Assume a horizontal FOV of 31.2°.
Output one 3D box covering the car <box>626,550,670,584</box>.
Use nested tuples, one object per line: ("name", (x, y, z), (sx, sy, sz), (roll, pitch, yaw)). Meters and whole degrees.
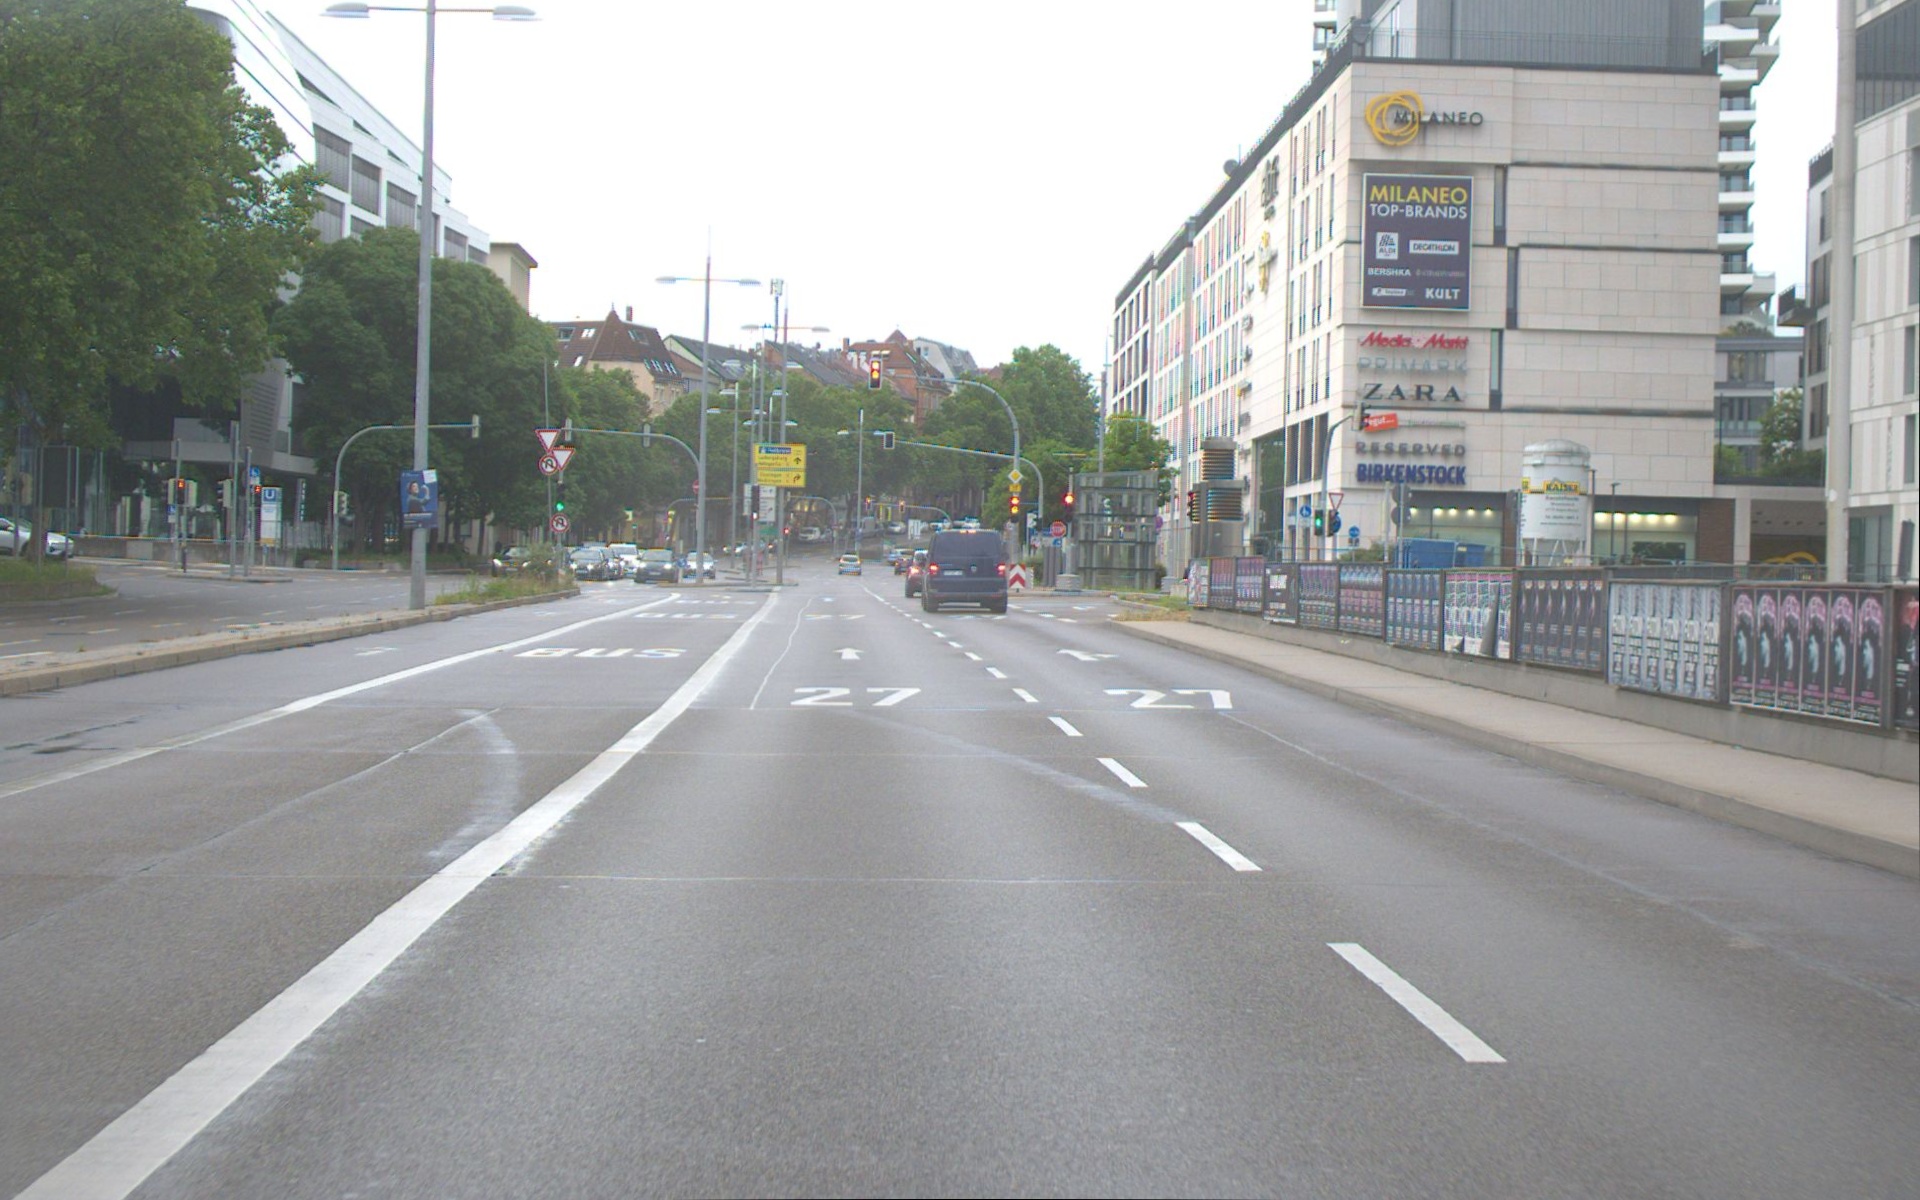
("car", (-13.843, -1.448, 152.608), (1.743, 1.439, 3.395), (1, 0, -2))

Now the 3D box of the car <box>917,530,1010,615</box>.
("car", (0.045, -0.685, 82.412), (2.033, 1.875, 5.042), (-2, 1, -1))

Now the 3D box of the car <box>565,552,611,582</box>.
("car", (-16.633, -1.465, 153.638), (1.743, 1.253, 3.540), (1, 1, -2))

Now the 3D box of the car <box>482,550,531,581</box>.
("car", (-20.173, -1.535, 153.147), (1.743, 1.324, 4.226), (1, 0, -2))

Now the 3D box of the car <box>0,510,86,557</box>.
("car", (-34.423, -2.425, 125.461), (4.504, 1.626, 1.893), (1, 0, 15))

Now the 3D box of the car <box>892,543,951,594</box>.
("car", (-1.222, -0.950, 106.856), (1.740, 1.526, 3.814), (1, 0, -2))
